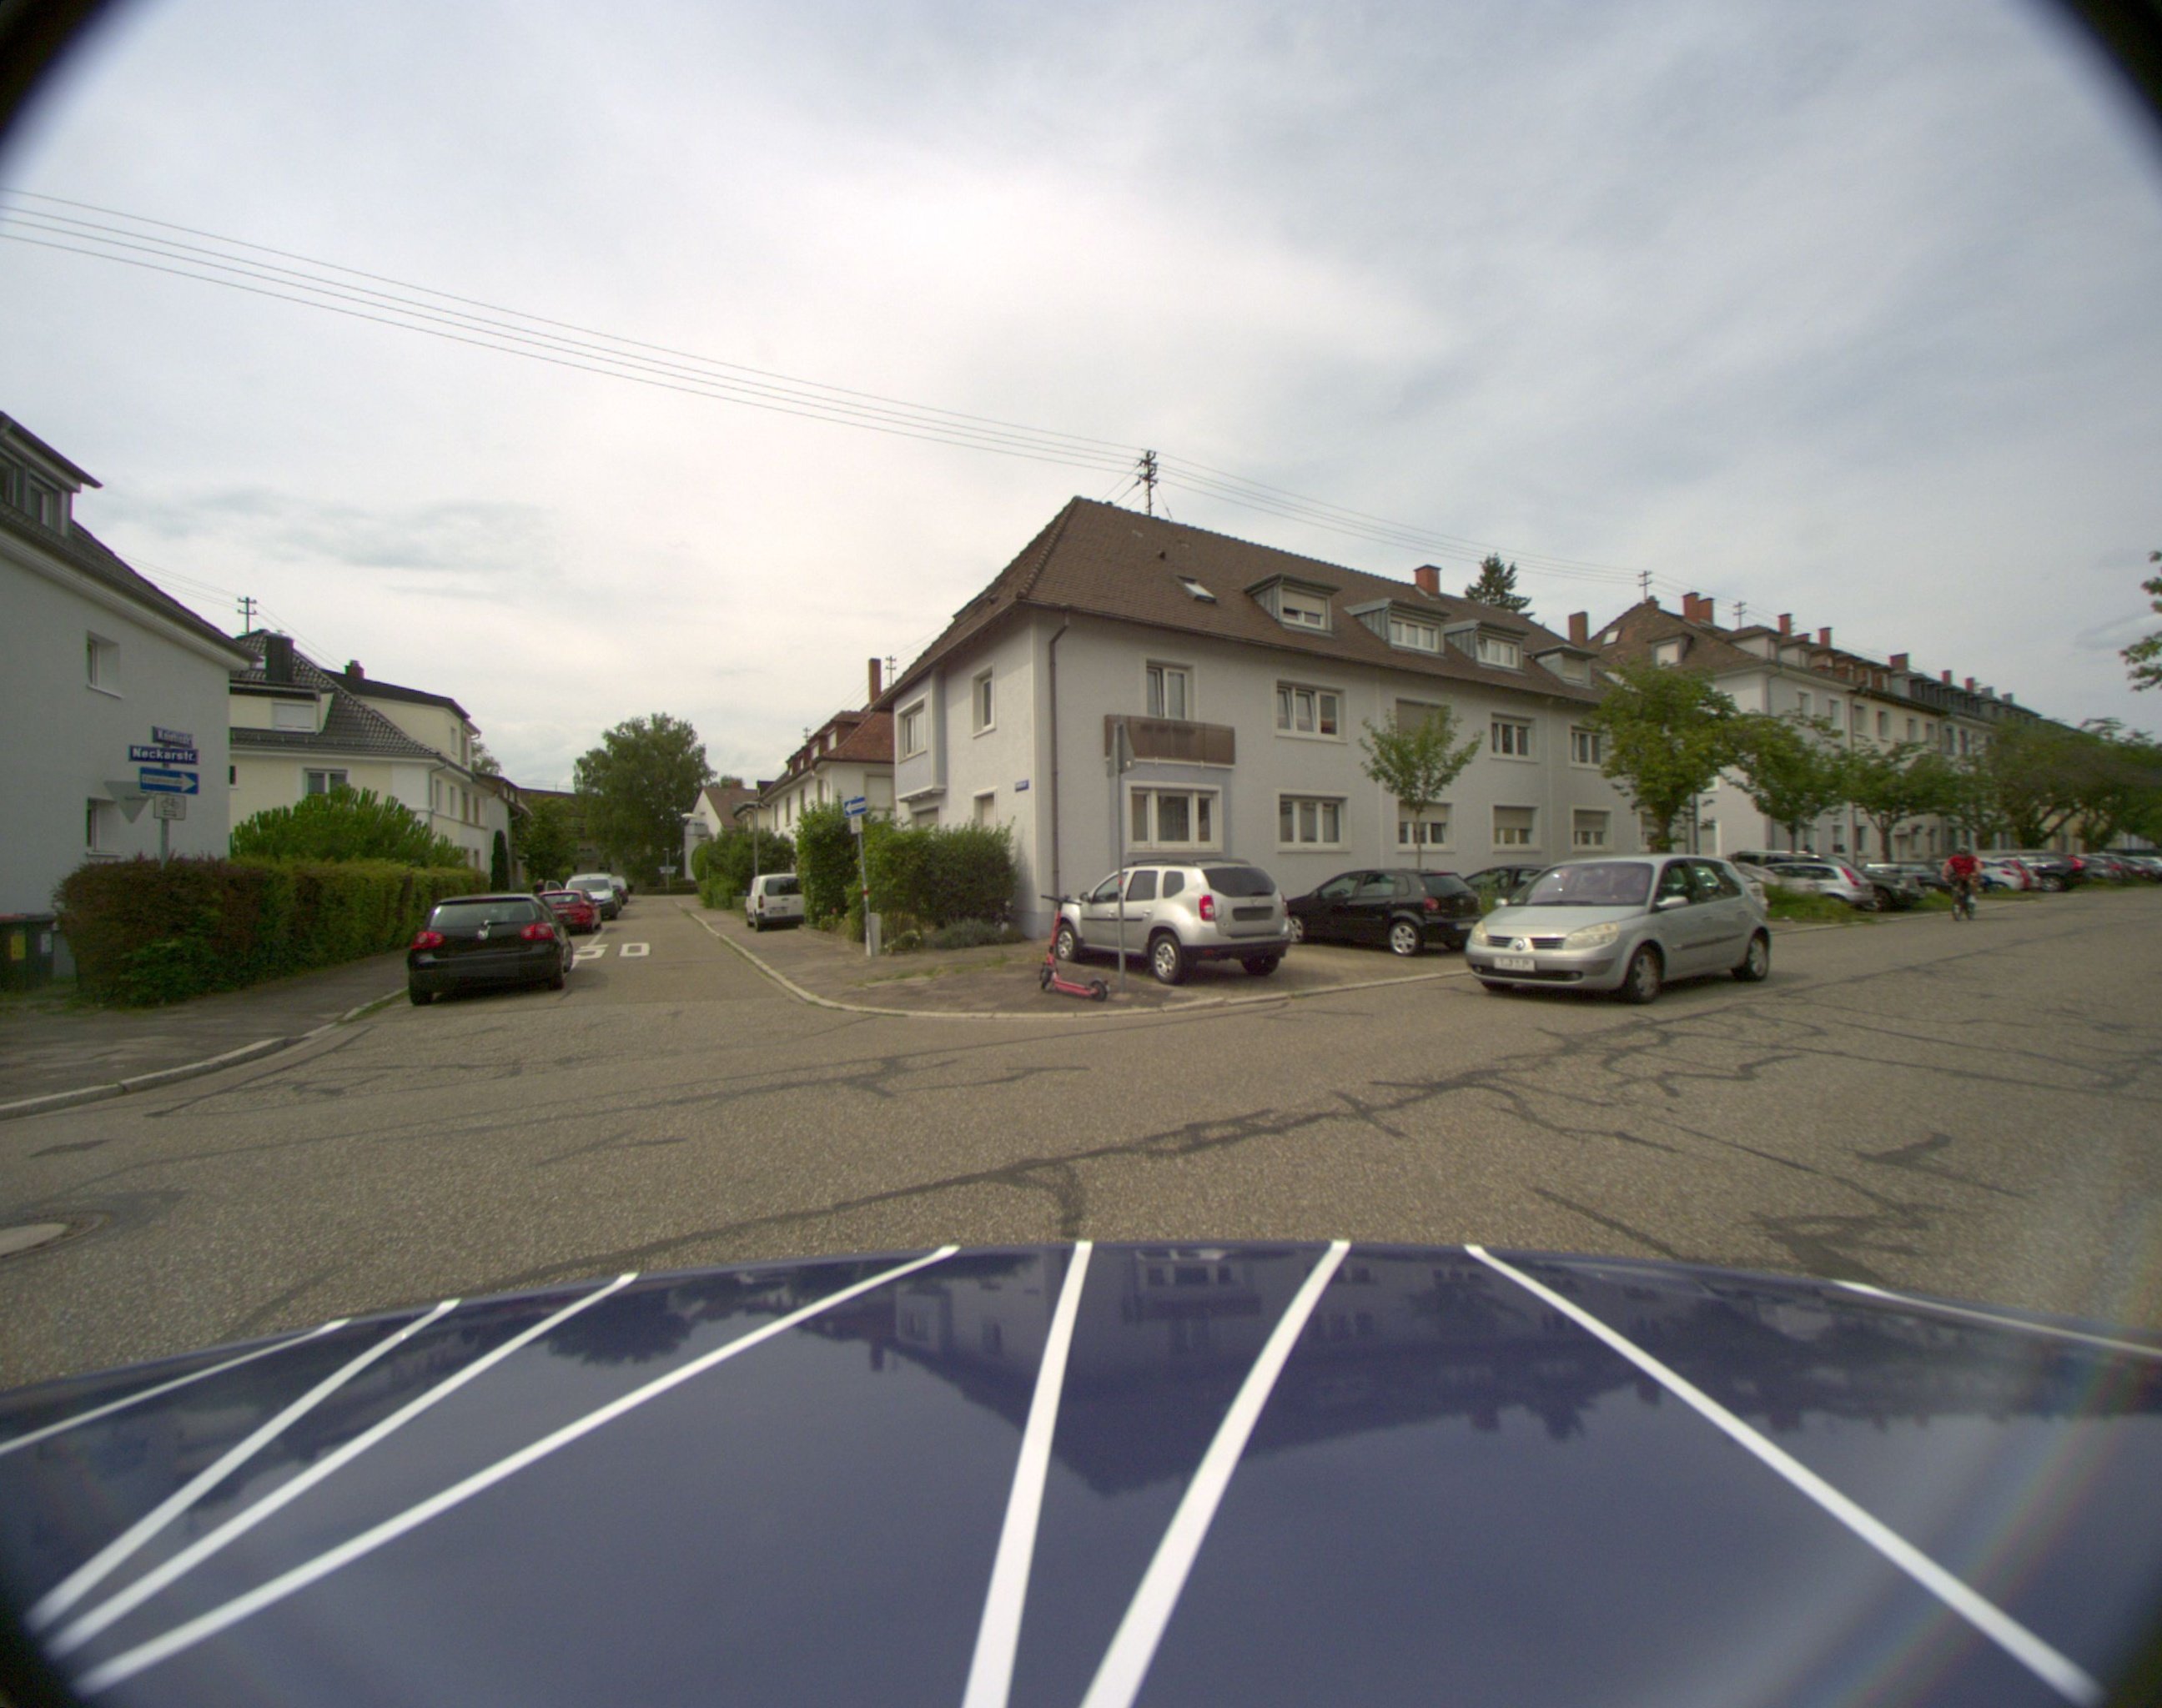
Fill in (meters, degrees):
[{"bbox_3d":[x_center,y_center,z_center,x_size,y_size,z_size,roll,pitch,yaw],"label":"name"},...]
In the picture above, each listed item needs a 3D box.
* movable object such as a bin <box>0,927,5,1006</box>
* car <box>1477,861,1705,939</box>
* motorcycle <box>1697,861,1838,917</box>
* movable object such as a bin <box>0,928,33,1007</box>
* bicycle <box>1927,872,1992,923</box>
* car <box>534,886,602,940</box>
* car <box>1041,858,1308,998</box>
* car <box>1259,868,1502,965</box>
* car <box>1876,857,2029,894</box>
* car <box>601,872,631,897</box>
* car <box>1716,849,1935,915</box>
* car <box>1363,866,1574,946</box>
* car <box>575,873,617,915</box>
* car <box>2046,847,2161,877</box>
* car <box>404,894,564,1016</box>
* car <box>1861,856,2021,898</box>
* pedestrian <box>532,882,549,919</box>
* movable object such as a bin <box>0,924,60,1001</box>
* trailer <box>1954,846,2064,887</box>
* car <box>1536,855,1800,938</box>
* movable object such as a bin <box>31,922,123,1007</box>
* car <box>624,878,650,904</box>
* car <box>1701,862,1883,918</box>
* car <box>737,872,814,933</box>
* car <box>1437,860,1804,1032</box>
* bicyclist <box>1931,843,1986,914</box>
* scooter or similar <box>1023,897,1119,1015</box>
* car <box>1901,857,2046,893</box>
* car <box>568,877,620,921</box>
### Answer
[{"bbox_3d":[-14.136,1.449,9.460,0.701,1.002,0.520,-1,-1,-32],"label":"movable object such as a bin"},{"bbox_3d":[11.501,0.940,17.434,1.715,1.499,3.990,-1,1,-29],"label":"car"},{"bbox_3d":[19.042,0.943,21.158,1.033,1.455,2.703,0,-1,-33],"label":"motorcycle"},{"bbox_3d":[-14.415,1.497,9.931,0.701,1.002,0.520,-1,-1,-32],"label":"movable object such as a bin"},{"bbox_3d":[22.527,1.101,19.477,1.940,1.220,0.692,-1,-2,-30],"label":"bicycle"},{"bbox_3d":[-16.562,1.840,24.672,1.666,1.508,3.806,-1,-1,-32],"label":"car"},{"bbox_3d":[1.174,0.928,11.273,1.871,1.623,3.926,2,0,-30],"label":"car"},{"bbox_3d":[5.339,1.026,14.081,1.715,1.413,3.990,-1,1,-29],"label":"car"},{"bbox_3d":[36.324,0.836,31.773,1.771,1.402,3.990,-1,1,-32],"label":"car"},{"bbox_3d":[-36.555,2.349,59.701,1.915,1.723,3.758,-1,1,-33],"label":"car"},{"bbox_3d":[22.985,0.767,23.684,1.795,1.847,4.529,-1,1,-27],"label":"car"},{"bbox_3d":[8.629,1.068,17.299,1.715,1.499,3.990,-1,1,-29],"label":"car"},{"bbox_3d":[-23.572,1.900,37.012,1.666,1.892,3.806,-1,-1,-32],"label":"car"},{"bbox_3d":[72.044,0.517,53.272,2.077,2.011,5.232,-1,1,-34],"label":"car"},{"bbox_3d":[-9.021,1.391,11.738,1.666,1.434,3.805,0,-1,-35],"label":"car"},{"bbox_3d":[34.325,0.865,30.434,1.771,1.521,3.990,-1,1,-32],"label":"car"},{"bbox_3d":[-24.992,2.139,35.134,0.561,1.708,0.613,-1,-1,-41],"label":"pedestrian"},{"bbox_3d":[-14.689,1.485,10.405,0.701,1.002,0.520,-1,-1,-32],"label":"movable object such as a bin"},{"bbox_3d":[42.926,0.523,35.205,1.402,1.821,2.964,-1,1,-26],"label":"trailer"},{"bbox_3d":[13.760,0.883,18.173,1.895,1.654,4.618,-1,1,-29],"label":"car"},{"bbox_3d":[-13.119,1.423,9.947,0.549,1.002,0.610,-1,-1,-34],"label":"movable object such as a bin"},{"bbox_3d":[-32.116,2.653,54.885,1.548,1.652,3.630,-1,1,-31],"label":"car"},{"bbox_3d":[21.046,1.011,22.624,1.776,1.446,3.627,-1,1,-33],"label":"car"},{"bbox_3d":[-10.282,1.553,25.416,1.708,1.794,3.806,-2,0,-32],"label":"car"},{"bbox_3d":[6.677,0.914,9.257,4.844,1.594,1.785,0,-1,-30],"label":"car"},{"bbox_3d":[22.469,0.624,19.465,0.988,1.759,0.693,-1,-2,-30],"label":"bicyclist"},{"bbox_3d":[-0.134,1.161,8.993,0.423,1.236,1.239,-1,1,-42],"label":"scooter or similar"},{"bbox_3d":[38.535,0.866,32.907,1.867,1.433,3.751,-1,1,-29],"label":"car"},{"bbox_3d":[-21.338,1.909,33.388,1.809,1.784,3.806,-1,-1,-32],"label":"car"}]
